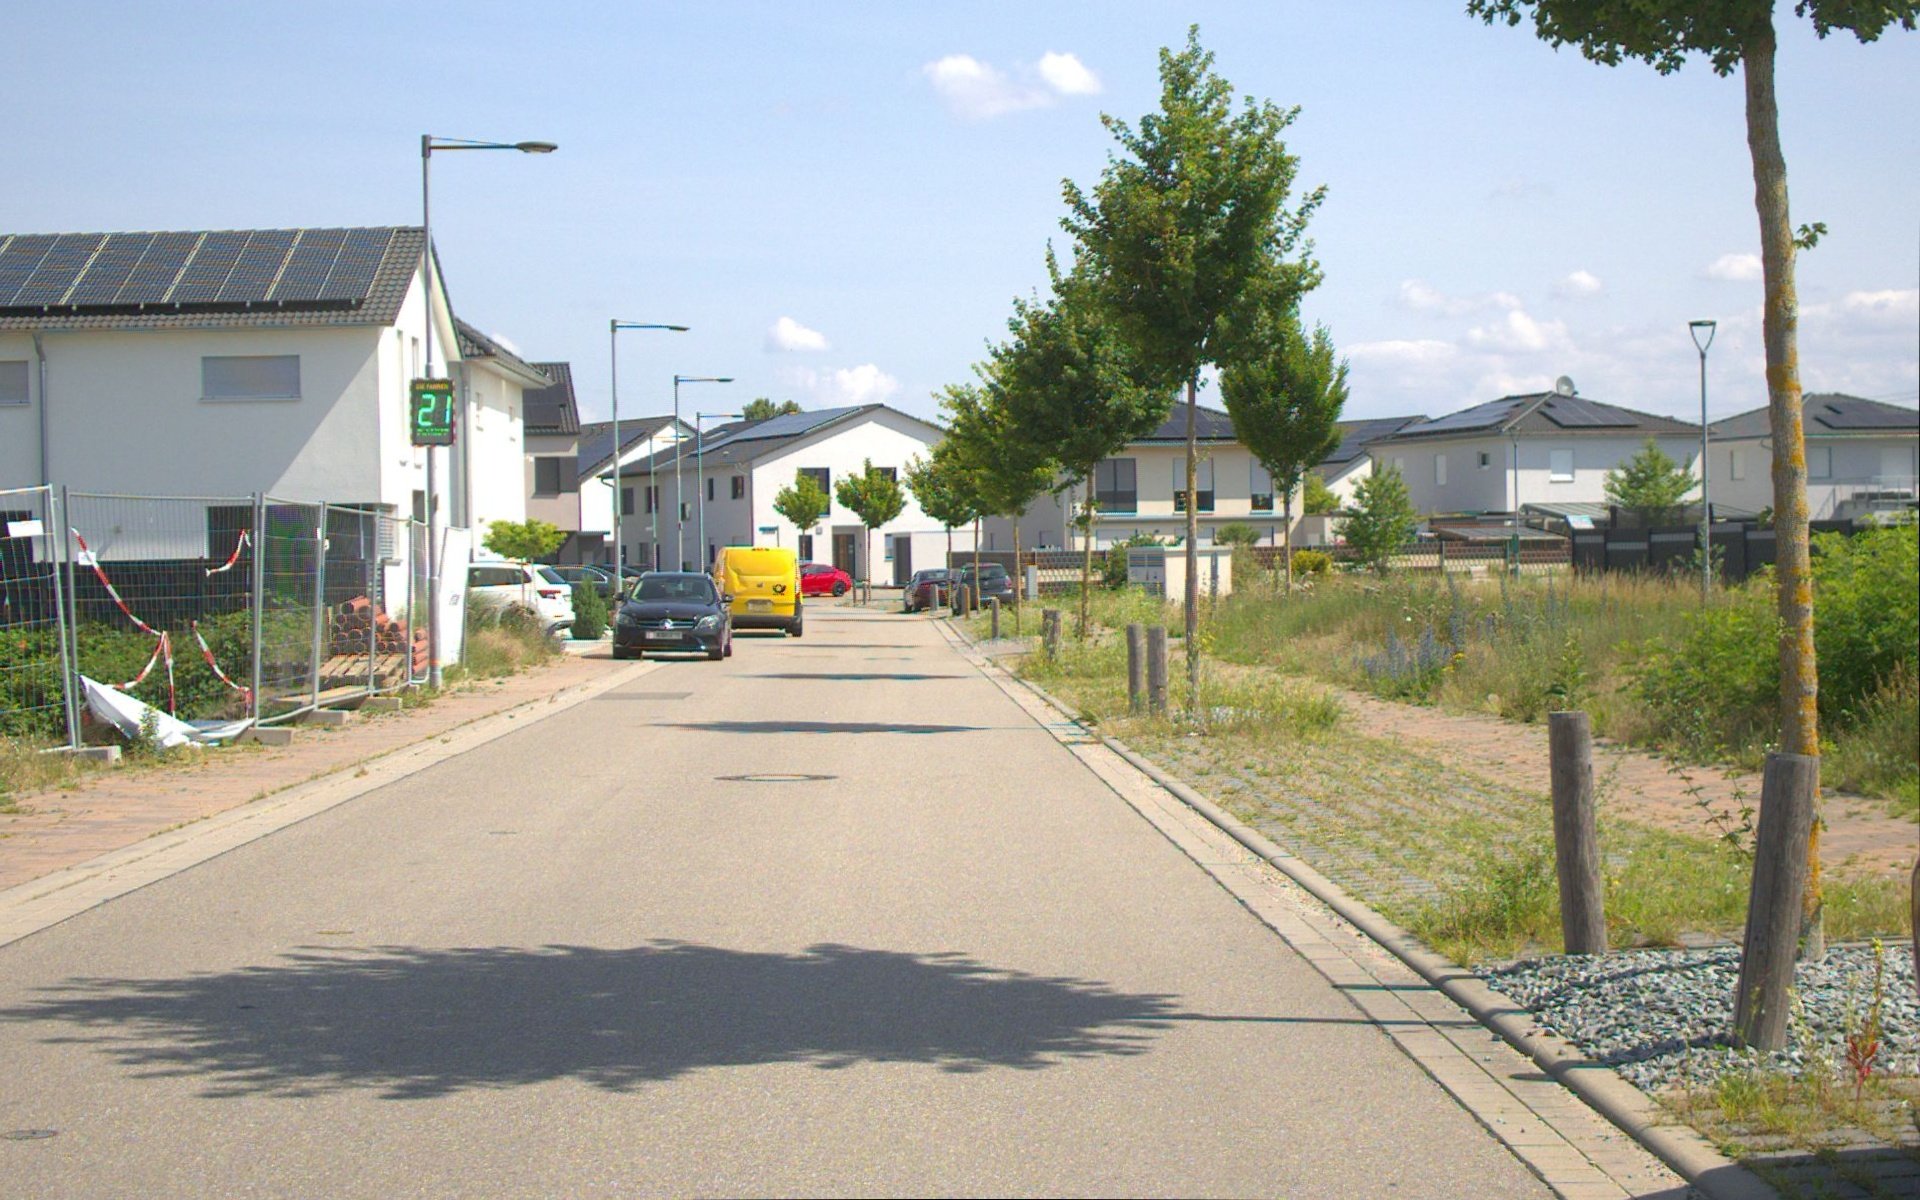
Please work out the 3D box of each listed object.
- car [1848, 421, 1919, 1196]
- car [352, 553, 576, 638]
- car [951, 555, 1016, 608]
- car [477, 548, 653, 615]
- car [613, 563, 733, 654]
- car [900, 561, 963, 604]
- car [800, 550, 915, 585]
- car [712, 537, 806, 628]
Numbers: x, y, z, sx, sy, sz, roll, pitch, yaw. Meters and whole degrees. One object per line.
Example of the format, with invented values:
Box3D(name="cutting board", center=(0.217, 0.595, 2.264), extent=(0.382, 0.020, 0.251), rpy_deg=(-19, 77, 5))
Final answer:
Box3D(name="car", center=(2.981, 0.456, 5.513), extent=(1.777, 1.657, 4.434), rpy_deg=(-2, 1, -2))
Box3D(name="car", center=(-9.742, -0.103, 67.680), extent=(4.069, 1.576, 1.784), rpy_deg=(1, 1, 5))
Box3D(name="car", center=(0.643, -0.508, 97.552), extent=(1.639, 1.398, 3.811), rpy_deg=(-1, -1, -2))
Box3D(name="car", center=(-10.129, -0.477, 88.051), extent=(4.159, 1.499, 1.816), rpy_deg=(3, 0, -17))
Box3D(name="car", center=(-4.739, 0.115, 57.242), extent=(1.745, 1.400, 4.160), rpy_deg=(1, 1, -2))
Box3D(name="car", center=(-0.988, -0.576, 116.145), extent=(1.627, 1.318, 3.834), rpy_deg=(-1, -1, -8))
Box3D(name="car", center=(-4.413, -1.394, 148.266), extent=(4.687, 1.427, 1.999), rpy_deg=(0, -2, -39))
Box3D(name="car", center=(-4.557, -0.375, 77.399), extent=(1.941, 1.975, 4.217), rpy_deg=(-1, 0, -5))
